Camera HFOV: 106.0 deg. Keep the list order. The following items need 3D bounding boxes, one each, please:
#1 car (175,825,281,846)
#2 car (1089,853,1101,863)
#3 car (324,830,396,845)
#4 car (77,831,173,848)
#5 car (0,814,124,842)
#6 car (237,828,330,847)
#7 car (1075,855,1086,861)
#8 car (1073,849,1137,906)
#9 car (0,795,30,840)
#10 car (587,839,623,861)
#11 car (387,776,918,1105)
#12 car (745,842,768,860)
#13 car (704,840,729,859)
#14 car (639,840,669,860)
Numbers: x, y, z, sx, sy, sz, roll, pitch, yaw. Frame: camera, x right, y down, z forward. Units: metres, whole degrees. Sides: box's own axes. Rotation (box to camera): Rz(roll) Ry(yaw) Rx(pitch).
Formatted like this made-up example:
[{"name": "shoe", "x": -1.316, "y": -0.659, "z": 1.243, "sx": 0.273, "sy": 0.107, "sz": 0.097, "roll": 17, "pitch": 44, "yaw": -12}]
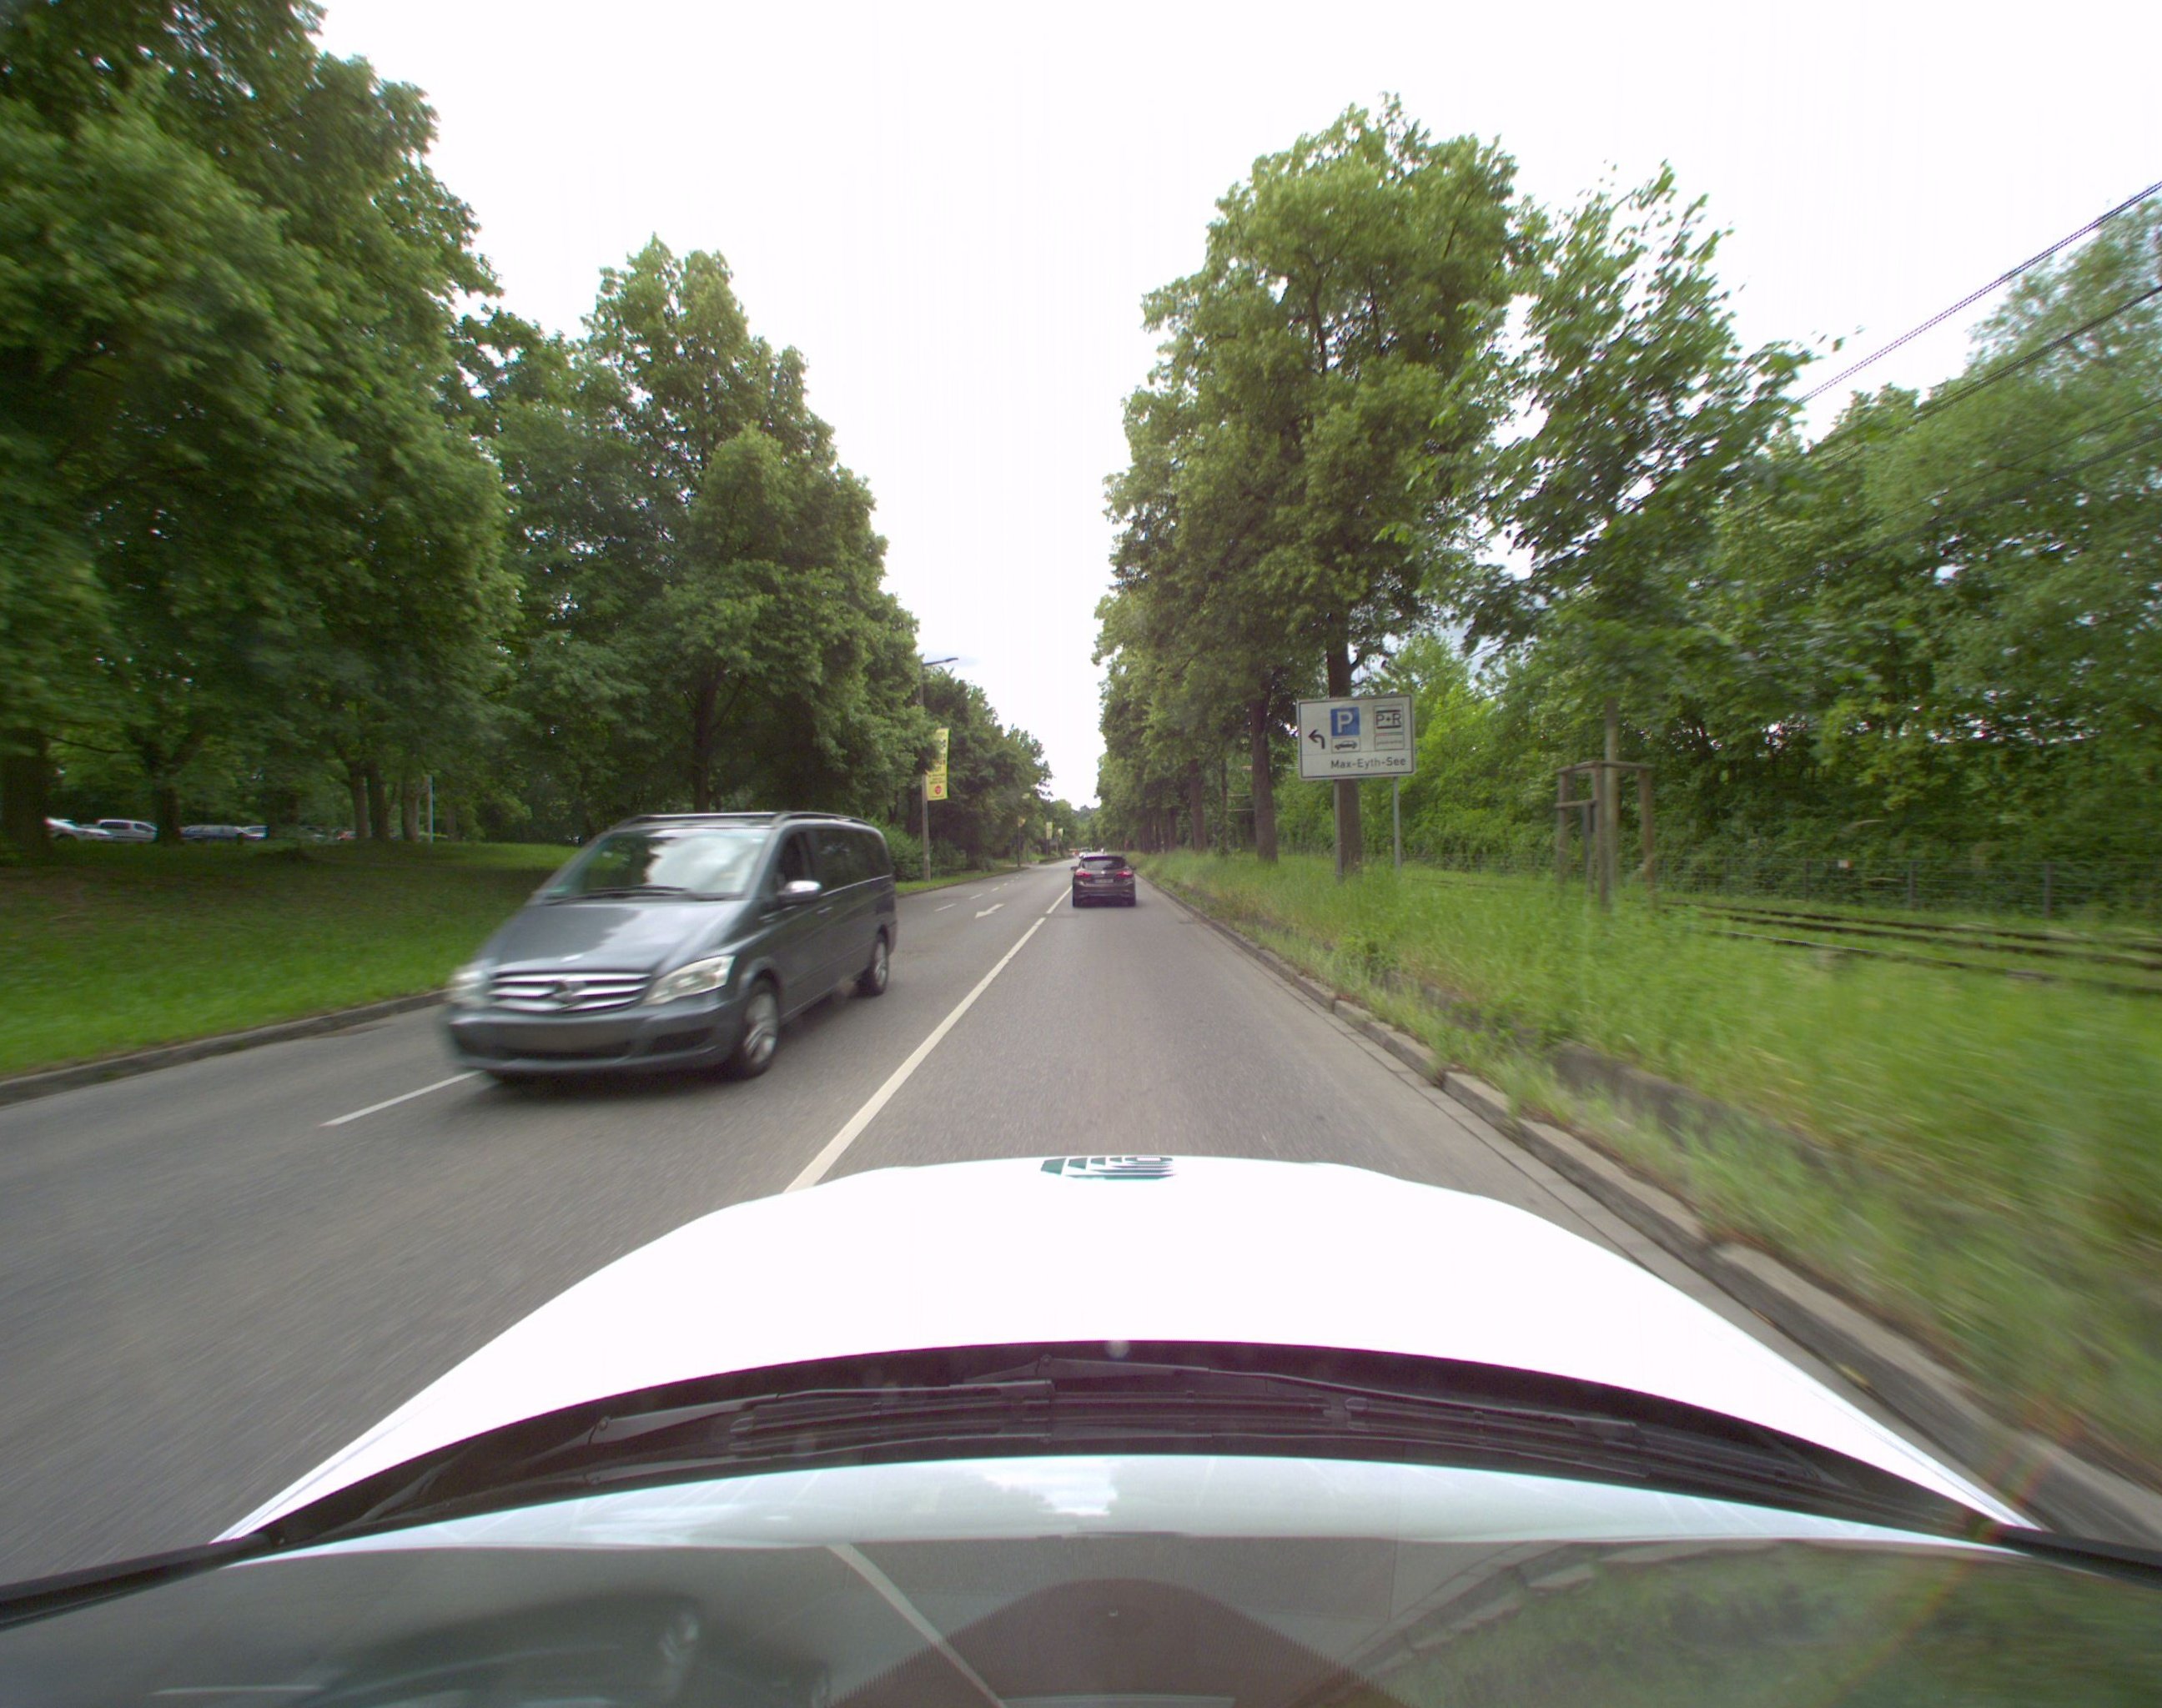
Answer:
[{"name": "car", "x": -51.807, "y": -1.117, "z": 49.550, "sx": 3.990, "sy": 1.210, "sz": 1.888, "roll": 0, "pitch": 0, "yaw": -24}, {"name": "car", "x": 2.182, "y": 0.618, "z": 125.350, "sx": 1.558, "sy": 1.441, "sz": 3.548, "roll": 0, "pitch": 0, "yaw": -3}, {"name": "car", "x": -58.356, "y": -1.321, "z": 65.992, "sx": 3.990, "sy": 1.210, "sz": 1.888, "roll": 0, "pitch": 0, "yaw": -24}, {"name": "car", "x": -68.315, "y": -1.028, "z": 58.268, "sx": 3.990, "sy": 1.210, "sz": 1.888, "roll": 0, "pitch": 0, "yaw": -24}, {"name": "car", "x": -46.621, "y": -1.141, "z": 36.762, "sx": 3.990, "sy": 1.210, "sz": 1.888, "roll": 0, "pitch": 0, "yaw": -24}, {"name": "car", "x": -53.409, "y": -1.110, "z": 54.626, "sx": 3.990, "sy": 1.210, "sz": 1.888, "roll": 0, "pitch": 0, "yaw": -24}, {"name": "car", "x": -0.011, "y": 0.941, "z": 190.383, "sx": 1.705, "sy": 1.428, "sz": 4.209, "roll": -3, "pitch": 0, "yaw": 11}, {"name": "car", "x": 0.672, "y": 0.628, "z": 23.636, "sx": 1.724, "sy": 1.537, "sz": 3.552, "roll": 0, "pitch": 0, "yaw": 1}, {"name": "car", "x": -43.204, "y": -1.394, "z": 30.652, "sx": 4.119, "sy": 1.683, "sz": 1.741, "roll": 0, "pitch": 0, "yaw": -23}, {"name": "car", "x": -33.271, "y": -0.292, "z": 57.023, "sx": 1.653, "sy": 1.486, "sz": 3.970, "roll": 0, "pitch": 0, "yaw": -22}, {"name": "car", "x": -3.153, "y": 0.534, "z": 7.575, "sx": 1.986, "sy": 1.955, "sz": 5.186, "roll": -2, "pitch": 0, "yaw": 2}, {"name": "car", "x": -26.646, "y": -0.244, "z": 66.862, "sx": 1.653, "sy": 1.486, "sz": 3.970, "roll": 0, "pitch": 0, "yaw": -22}, {"name": "car", "x": -29.427, "y": -0.317, "z": 65.810, "sx": 1.653, "sy": 1.486, "sz": 3.970, "roll": 0, "pitch": 0, "yaw": -22}, {"name": "car", "x": -32.857, "y": -0.297, "z": 62.689, "sx": 1.653, "sy": 1.486, "sz": 3.970, "roll": 0, "pitch": 0, "yaw": -22}]
